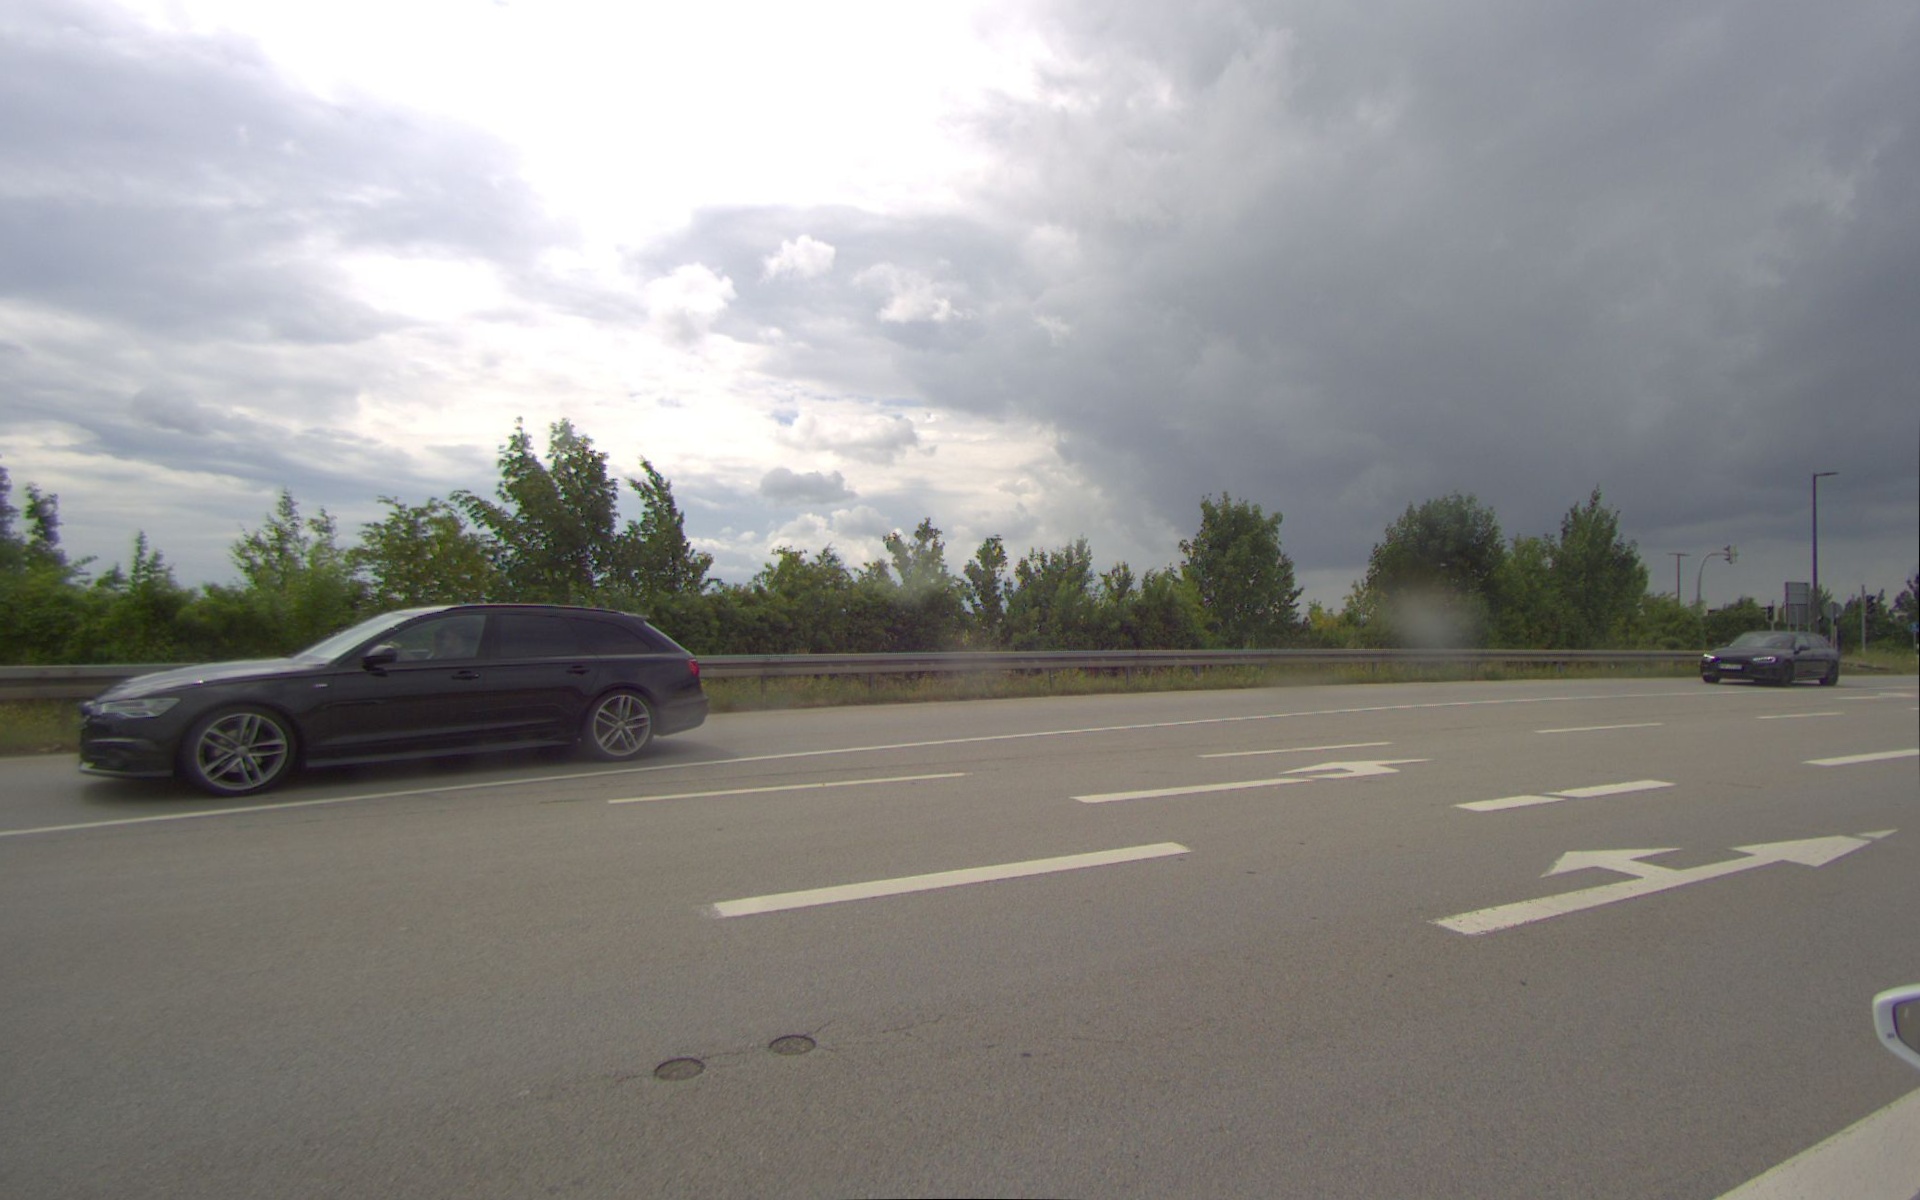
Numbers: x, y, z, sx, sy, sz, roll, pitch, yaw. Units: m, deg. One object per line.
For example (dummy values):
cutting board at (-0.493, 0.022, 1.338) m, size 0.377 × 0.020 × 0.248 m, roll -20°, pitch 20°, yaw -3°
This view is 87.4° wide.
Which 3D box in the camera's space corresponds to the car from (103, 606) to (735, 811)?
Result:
car at (-4.596, 0.792, 9.082) m, size 4.750 × 1.387 × 1.792 m, roll 2°, pitch -2°, yaw -42°

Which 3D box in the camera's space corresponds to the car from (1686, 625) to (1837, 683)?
car at (21.357, 1.432, 26.742) m, size 3.861 × 1.444 × 1.837 m, roll 2°, pitch -2°, yaw -29°
